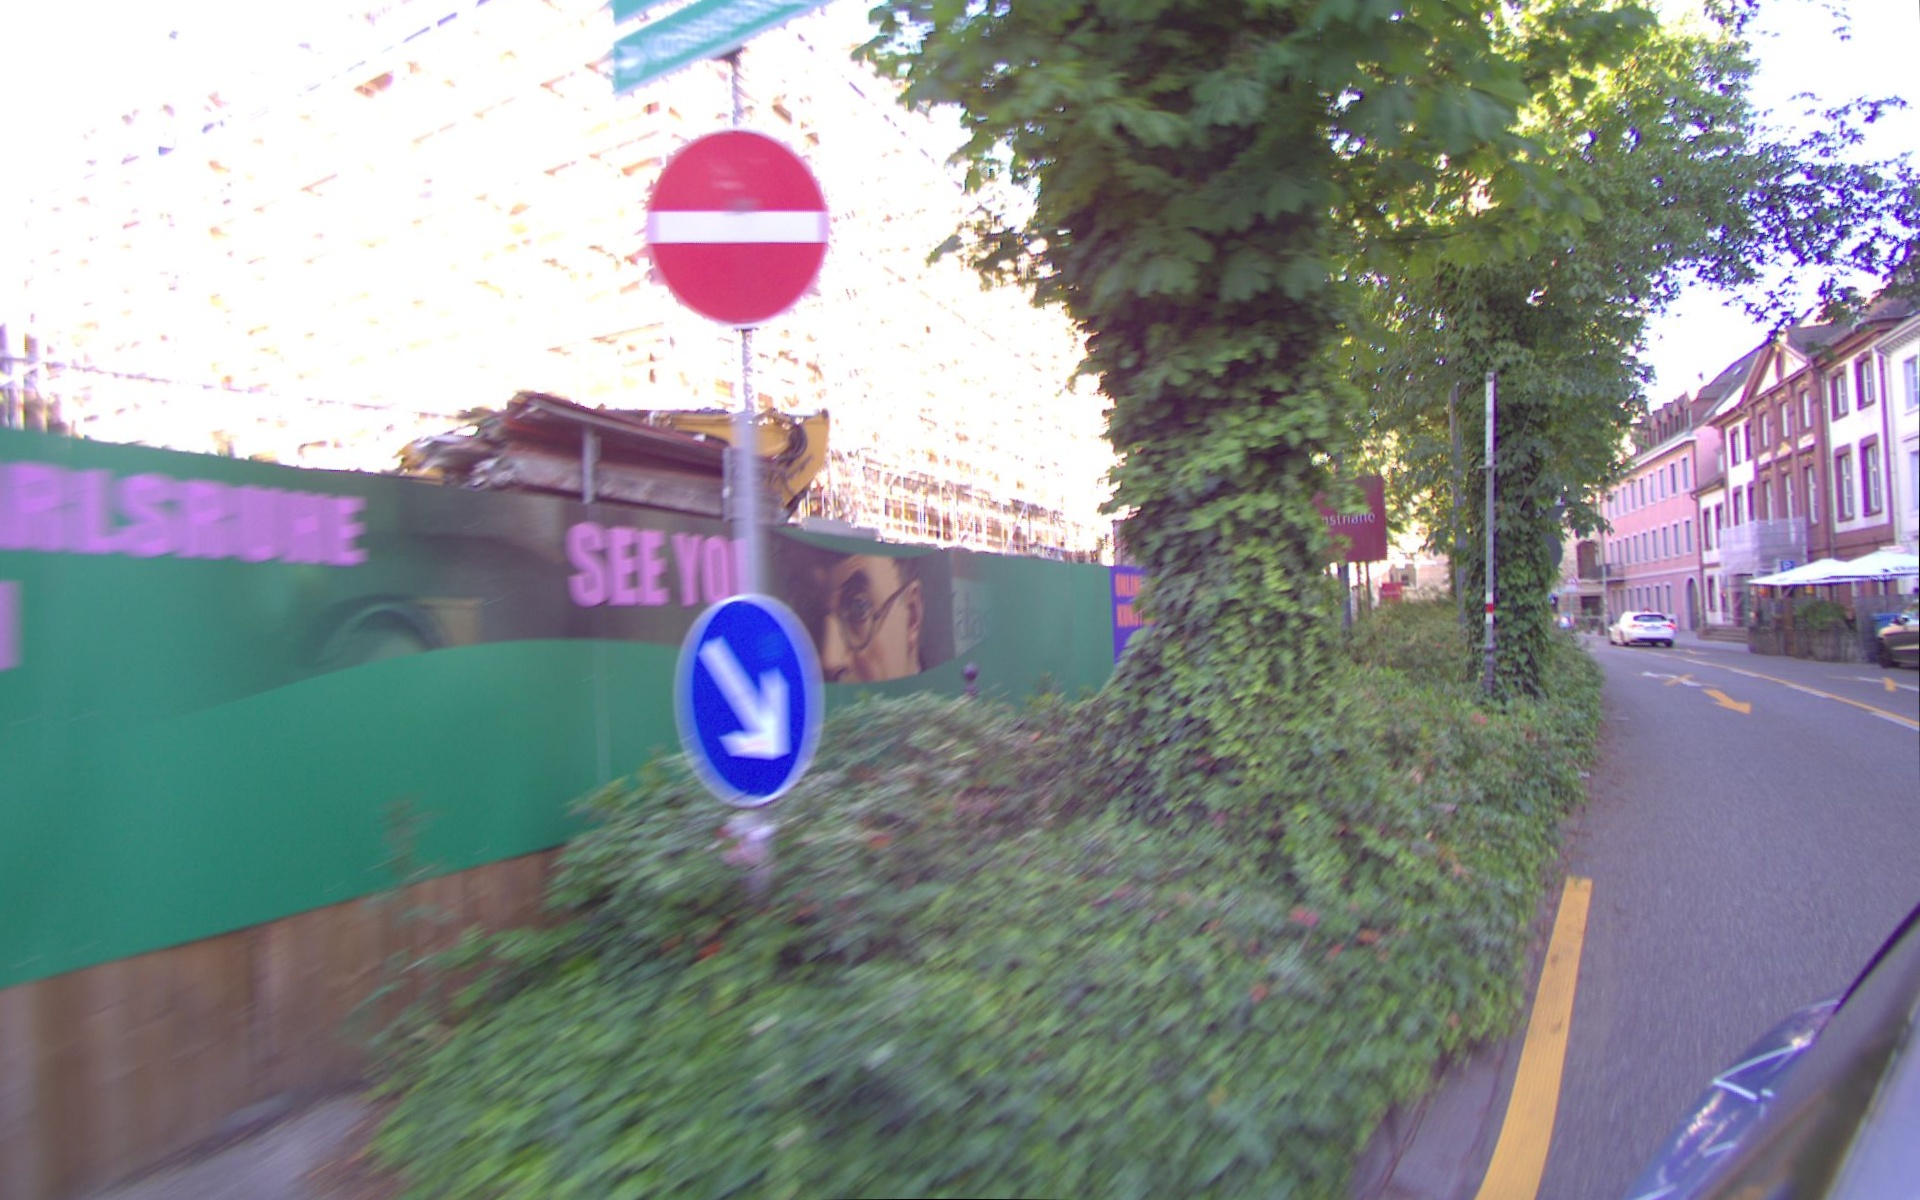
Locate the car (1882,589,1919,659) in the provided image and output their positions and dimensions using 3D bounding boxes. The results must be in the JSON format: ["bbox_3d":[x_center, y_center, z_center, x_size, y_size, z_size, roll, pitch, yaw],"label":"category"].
[{"bbox_3d":[22.812,0.518,22.776,1.801,1.592,4.349,-3,-2,26],"label":"car"}]

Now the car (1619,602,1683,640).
[{"bbox_3d":[28.692,0.834,42.119,1.803,1.482,3.960,0,0,29],"label":"car"}]

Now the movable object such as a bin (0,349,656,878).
[{"bbox_3d":[-5.537,0.121,9.094,3.153,3.343,4.327,-3,-2,37],"label":"movable object such as a bin"}]
